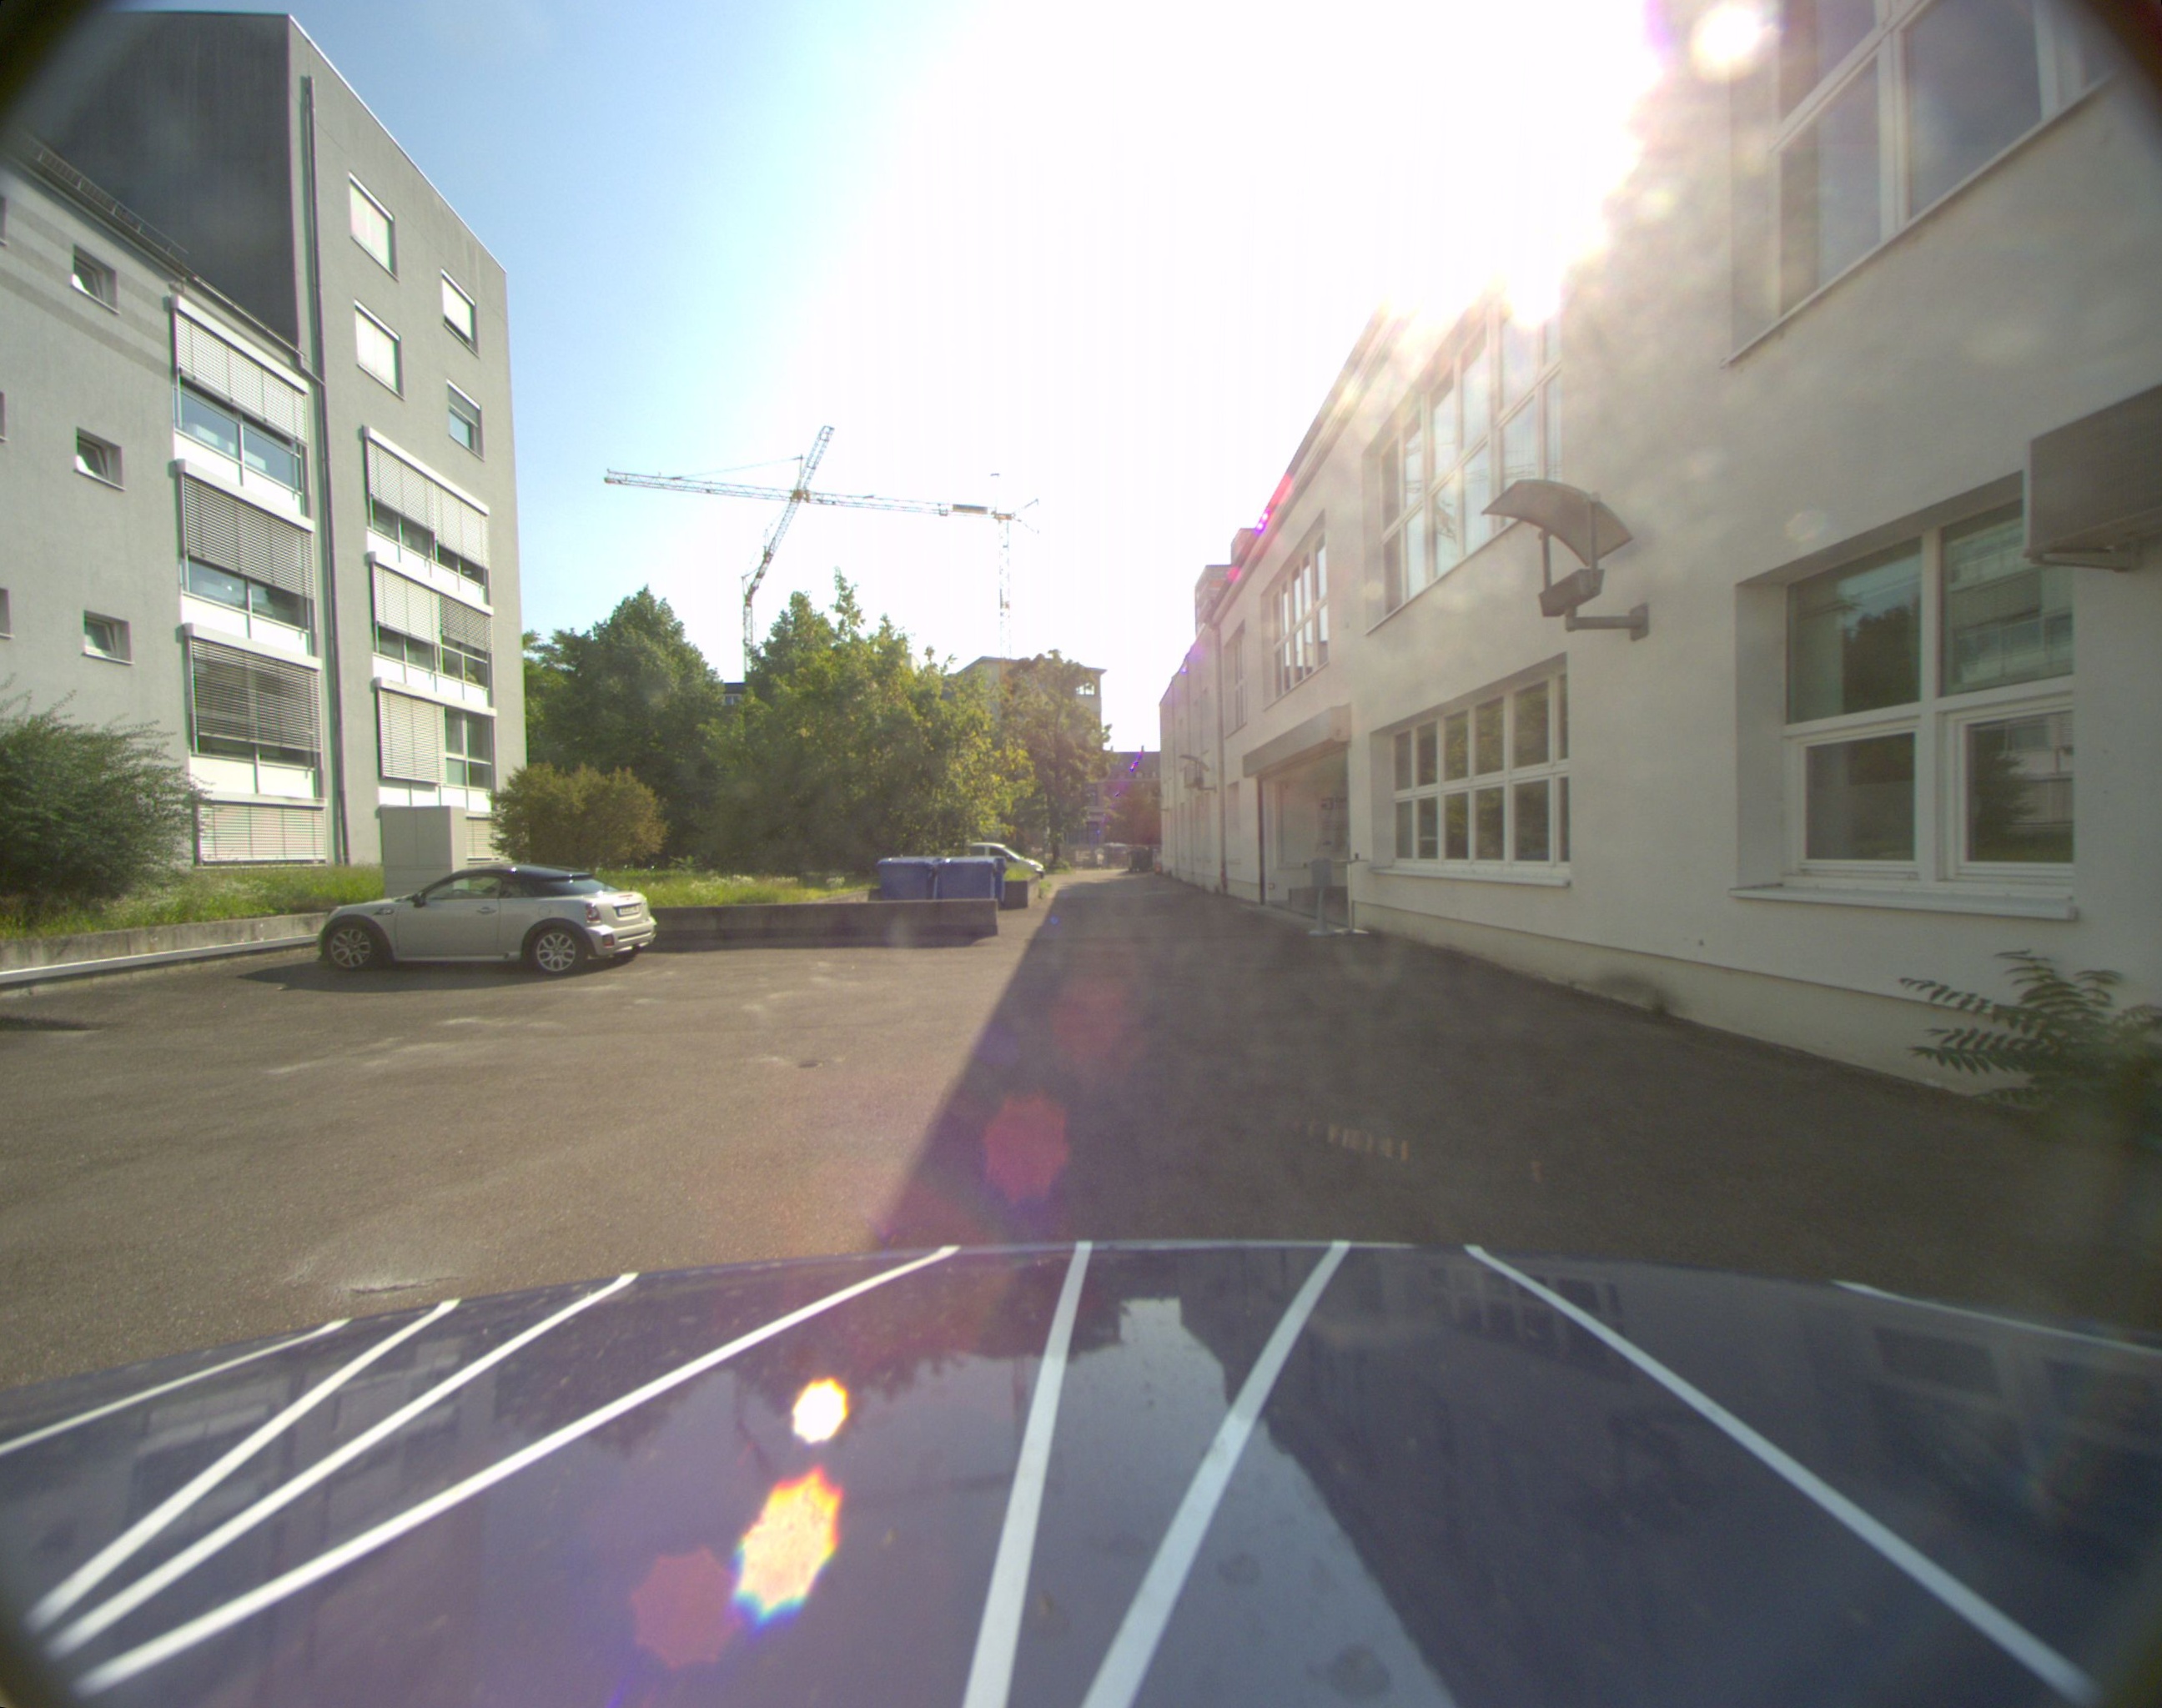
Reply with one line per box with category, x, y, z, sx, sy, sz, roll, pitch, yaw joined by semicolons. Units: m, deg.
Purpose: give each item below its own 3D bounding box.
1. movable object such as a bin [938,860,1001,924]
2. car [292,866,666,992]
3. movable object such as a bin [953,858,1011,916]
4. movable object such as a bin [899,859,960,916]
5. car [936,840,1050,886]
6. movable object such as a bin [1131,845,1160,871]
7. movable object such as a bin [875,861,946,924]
movable object such as a bin;-2.478;0.828;17.101;1.214;1.343;1.275;-2;1;-1
car;-7.821;0.929;10.157;3.580;1.429;1.658;-1;1;-3
movable object such as a bin;-2.396;0.787;18.651;1.199;1.320;1.275;-2;1;1
movable object such as a bin;-3.720;0.801;18.753;1.199;1.320;1.275;-2;1;1
car;-3.899;0.389;34.096;4.789;1.920;1.909;-1;1;2
movable object such as a bin;3.666;0.222;43.556;1.524;1.457;1.275;-2;1;0
movable object such as a bin;-3.823;0.840;17.140;1.257;1.320;1.275;-2;1;1
